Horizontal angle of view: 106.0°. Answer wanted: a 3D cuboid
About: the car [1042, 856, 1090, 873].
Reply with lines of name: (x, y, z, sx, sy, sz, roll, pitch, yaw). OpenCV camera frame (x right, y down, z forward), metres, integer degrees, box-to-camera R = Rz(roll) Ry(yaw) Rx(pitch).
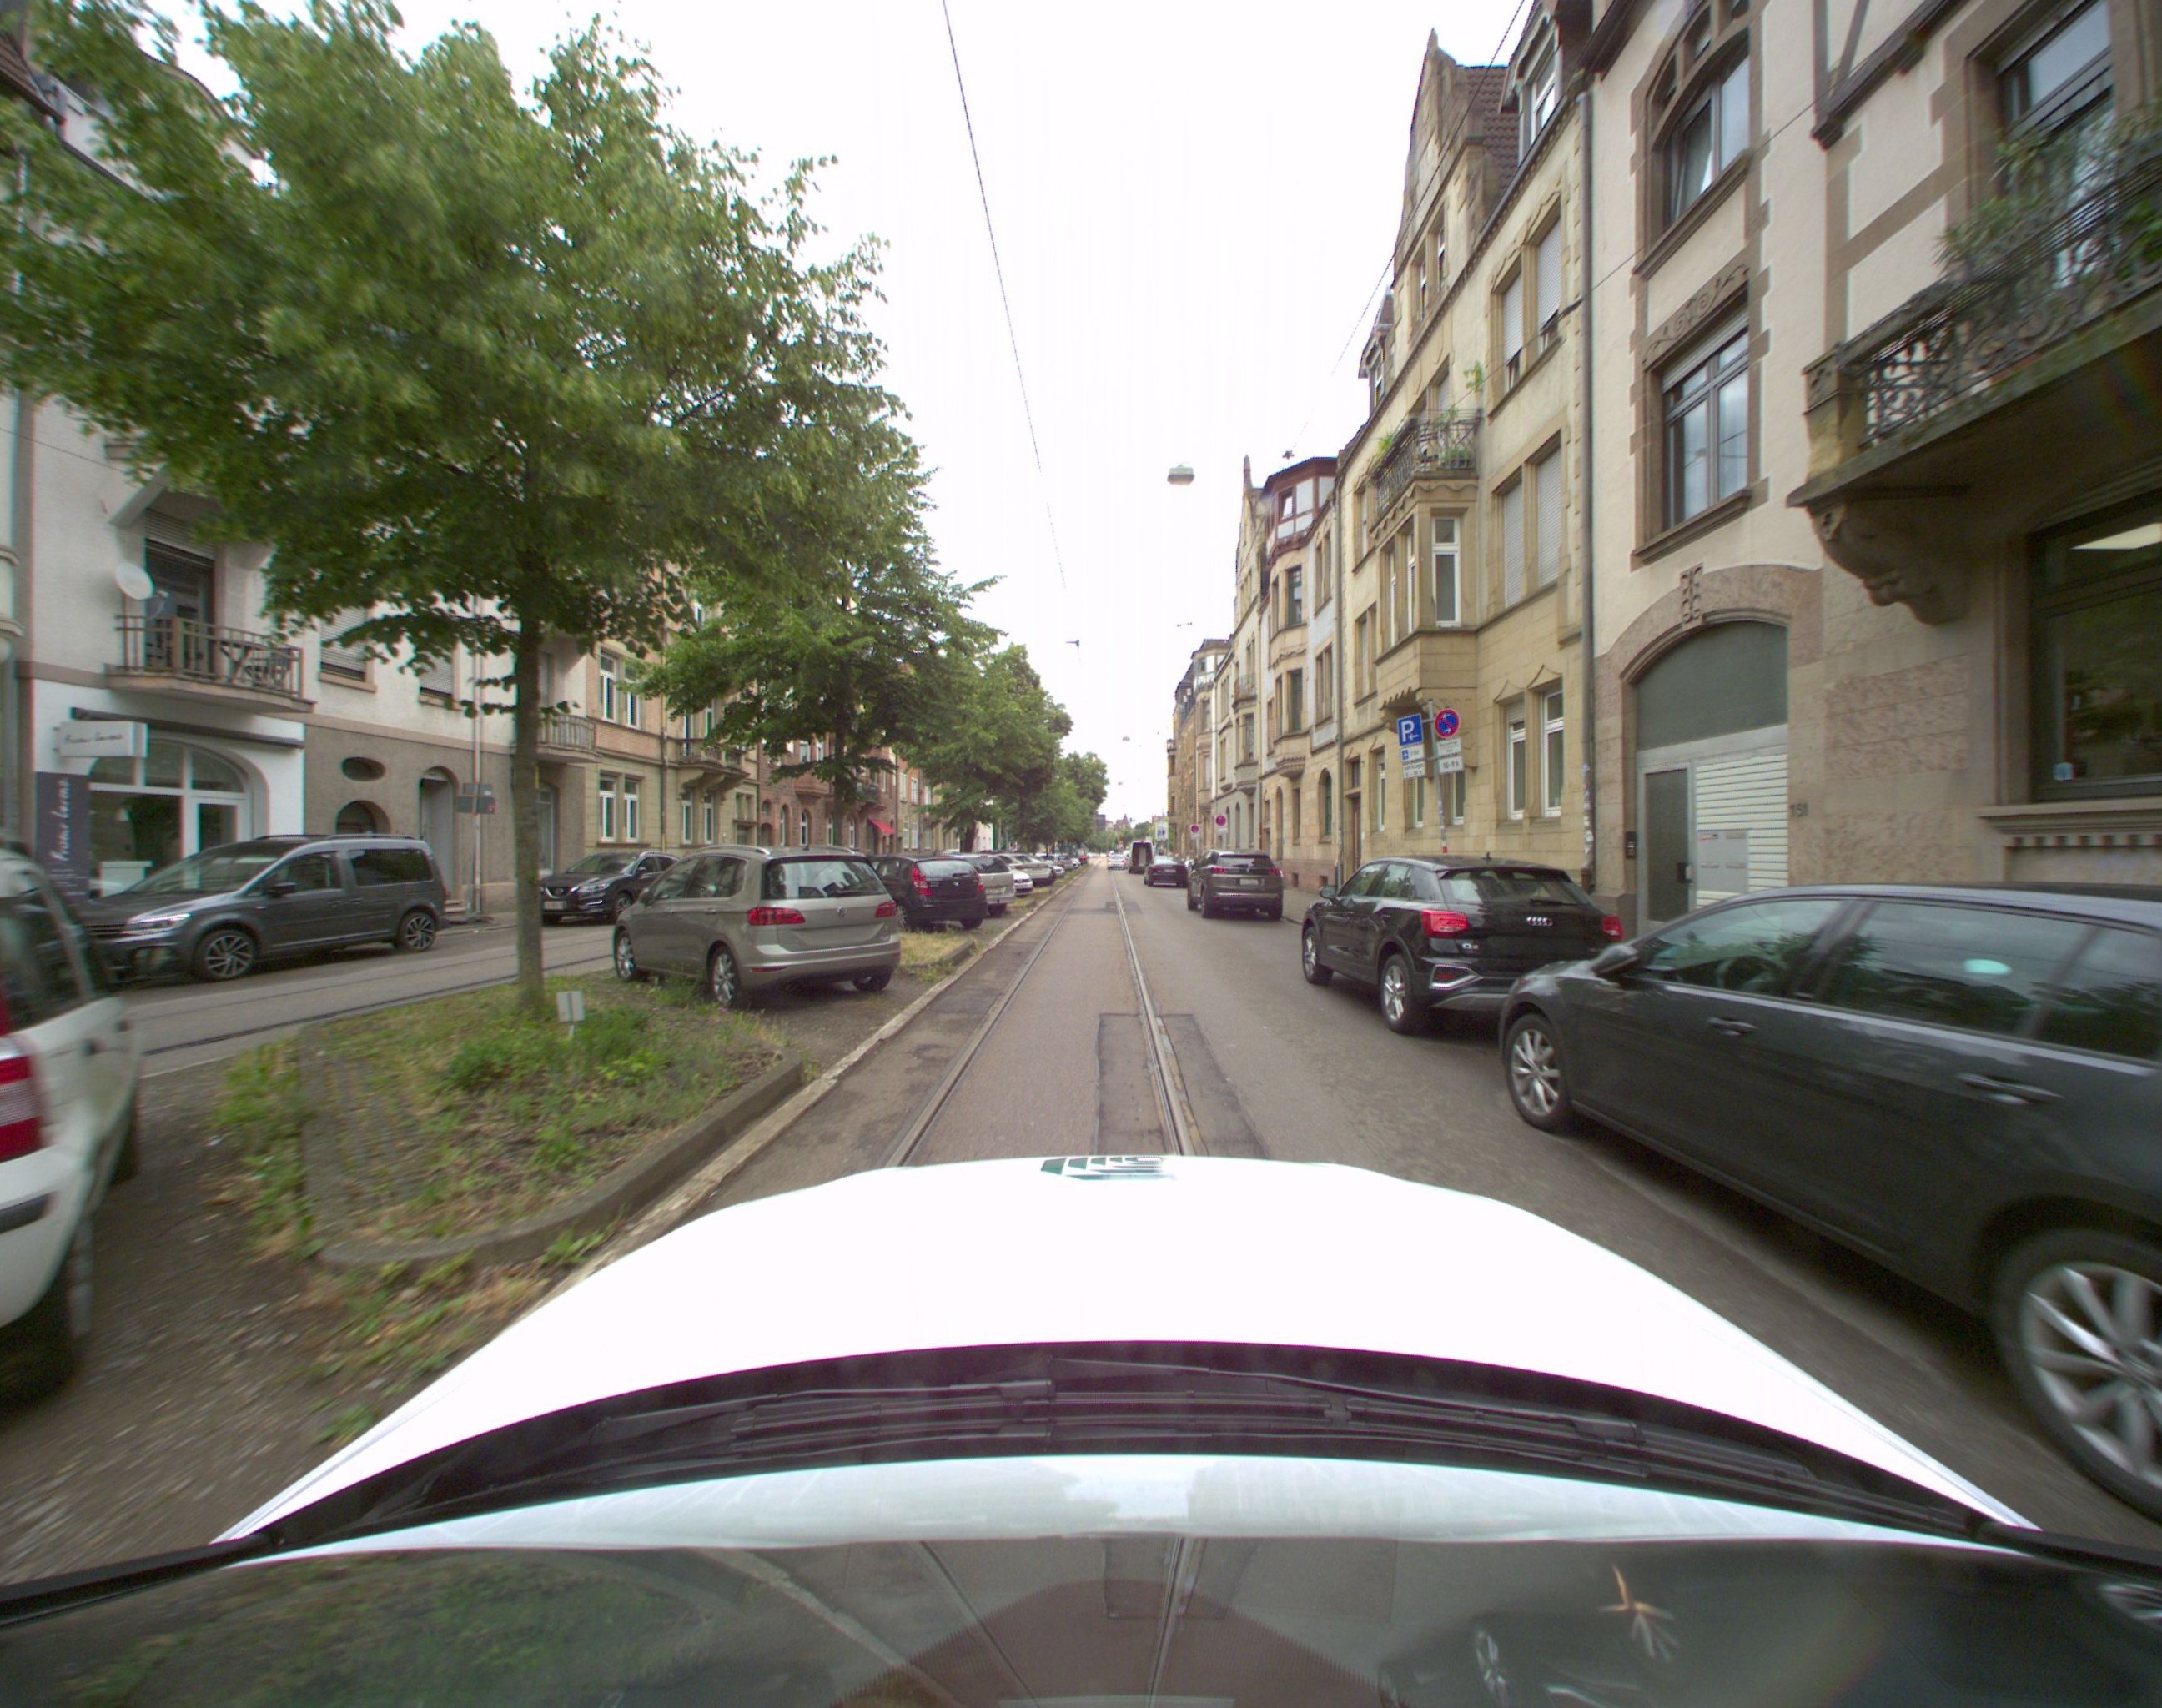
car: (-1.366, 0.918, 73.678, 4.286, 1.435, 1.910, 0, 0, 44)

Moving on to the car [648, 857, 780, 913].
car: (-10.578, 0.828, 23.875, 1.798, 1.490, 4.388, 0, 0, 1)

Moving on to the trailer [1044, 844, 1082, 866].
trailer: (-1.932, 0.096, 87.902, 3.624, 2.344, 1.943, 0, 0, 34)

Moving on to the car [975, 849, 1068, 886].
car: (-2.790, 0.605, 37.475, 1.775, 1.633, 4.477, 0, -1, -44)

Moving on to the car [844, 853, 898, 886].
car: (-10.303, 0.746, 40.252, 1.656, 1.559, 3.723, 0, 0, 1)

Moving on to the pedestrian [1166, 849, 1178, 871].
pedestrian: (7.219, 0.469, 64.638, 0.706, 1.700, 0.489, -3, 0, -26)

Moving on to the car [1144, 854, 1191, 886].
car: (4.104, 0.710, 39.302, 1.794, 1.438, 5.197, 0, 0, 1)

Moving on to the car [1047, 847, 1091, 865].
car: (-1.346, 0.234, 90.707, 4.707, 1.974, 1.972, 0, 0, 40)

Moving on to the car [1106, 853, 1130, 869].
car: (3.593, 0.668, 78.738, 1.771, 1.472, 4.022, 0, 0, 10)

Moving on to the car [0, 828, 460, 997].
car: (-11.320, 0.649, 11.311, 1.843, 1.870, 4.433, -1, 0, 2)

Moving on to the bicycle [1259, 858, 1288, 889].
bicycle: (7.285, 0.721, 30.893, 0.609, 1.126, 1.916, 2, 0, 1)

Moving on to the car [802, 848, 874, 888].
car: (-10.431, 0.579, 35.295, 1.762, 1.628, 4.321, 0, 0, 1)

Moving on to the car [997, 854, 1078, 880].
car: (-2.411, 0.680, 44.530, 4.610, 1.368, 1.768, 0, 0, 44)

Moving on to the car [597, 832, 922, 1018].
car: (-3.742, 0.656, 9.090, 4.154, 1.609, 1.735, -1, -2, 43)

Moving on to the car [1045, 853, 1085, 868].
car: (-1.558, 0.637, 79.929, 3.815, 1.463, 1.700, 0, 0, 44)

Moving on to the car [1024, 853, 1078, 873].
car: (-2.313, 0.655, 61.997, 4.066, 1.484, 1.808, 0, 0, 42)

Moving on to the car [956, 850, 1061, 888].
car: (-3.129, 0.619, 34.352, 2.047, 1.490, 4.486, 0, -1, -44)

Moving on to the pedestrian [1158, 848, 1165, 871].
pedestrian: (6.465, 0.463, 65.396, 0.497, 1.815, 0.803, -3, 0, 3)

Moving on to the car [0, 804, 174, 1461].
car: (-4.196, 0.668, 2.578, 3.384, 1.527, 1.700, -1, -2, 43)

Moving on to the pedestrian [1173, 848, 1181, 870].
pedestrian: (7.720, 0.421, 65.475, 0.507, 1.717, 0.579, -3, 0, -8)

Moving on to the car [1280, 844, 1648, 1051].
car: (3.477, 0.704, 8.446, 1.692, 1.513, 4.419, 3, 0, 0)

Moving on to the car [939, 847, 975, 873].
car: (-9.571, 0.478, 63.307, 1.874, 1.952, 5.095, 0, 0, 1)

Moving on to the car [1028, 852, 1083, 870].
car: (-2.182, 0.581, 69.649, 4.628, 1.435, 1.910, 0, 0, 41)

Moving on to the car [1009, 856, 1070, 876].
car: (-2.639, 0.764, 51.657, 1.678, 1.202, 3.914, 0, 0, -45)

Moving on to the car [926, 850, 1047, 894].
car: (-3.193, 0.555, 27.030, 1.874, 1.312, 4.079, 1, 0, -44)

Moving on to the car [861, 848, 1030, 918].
car: (-3.396, 0.622, 19.764, 1.874, 1.493, 4.510, 1, 0, -43)

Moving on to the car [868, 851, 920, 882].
car: (-10.282, 0.681, 45.080, 1.734, 1.626, 4.554, 0, 0, 1)

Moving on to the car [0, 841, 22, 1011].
car: (-11.471, 0.722, 5.853, 1.845, 1.659, 4.492, -1, 0, -1)

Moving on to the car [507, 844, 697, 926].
car: (-10.835, 0.654, 18.860, 1.798, 1.679, 4.274, 0, 0, 1)

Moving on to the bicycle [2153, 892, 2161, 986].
bicycle: (6.291, 0.749, 3.801, 0.419, 1.098, 1.589, -5, 0, 2)

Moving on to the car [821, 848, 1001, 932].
car: (-3.539, 0.637, 16.504, 1.786, 1.485, 3.951, 0, 0, -43)

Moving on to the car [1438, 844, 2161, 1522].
car: (3.308, 0.764, 3.420, 1.692, 1.513, 4.392, 3, 0, 1)

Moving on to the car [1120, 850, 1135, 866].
car: (5.624, 0.448, 98.174, 1.775, 1.962, 4.386, 0, 0, 3)

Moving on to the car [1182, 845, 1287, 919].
car: (3.672, 0.602, 20.304, 1.753, 1.622, 4.694, 0, 0, 0)

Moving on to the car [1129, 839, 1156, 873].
car: (4.971, 0.152, 66.613, 2.005, 2.549, 7.021, 1, 0, 3)
